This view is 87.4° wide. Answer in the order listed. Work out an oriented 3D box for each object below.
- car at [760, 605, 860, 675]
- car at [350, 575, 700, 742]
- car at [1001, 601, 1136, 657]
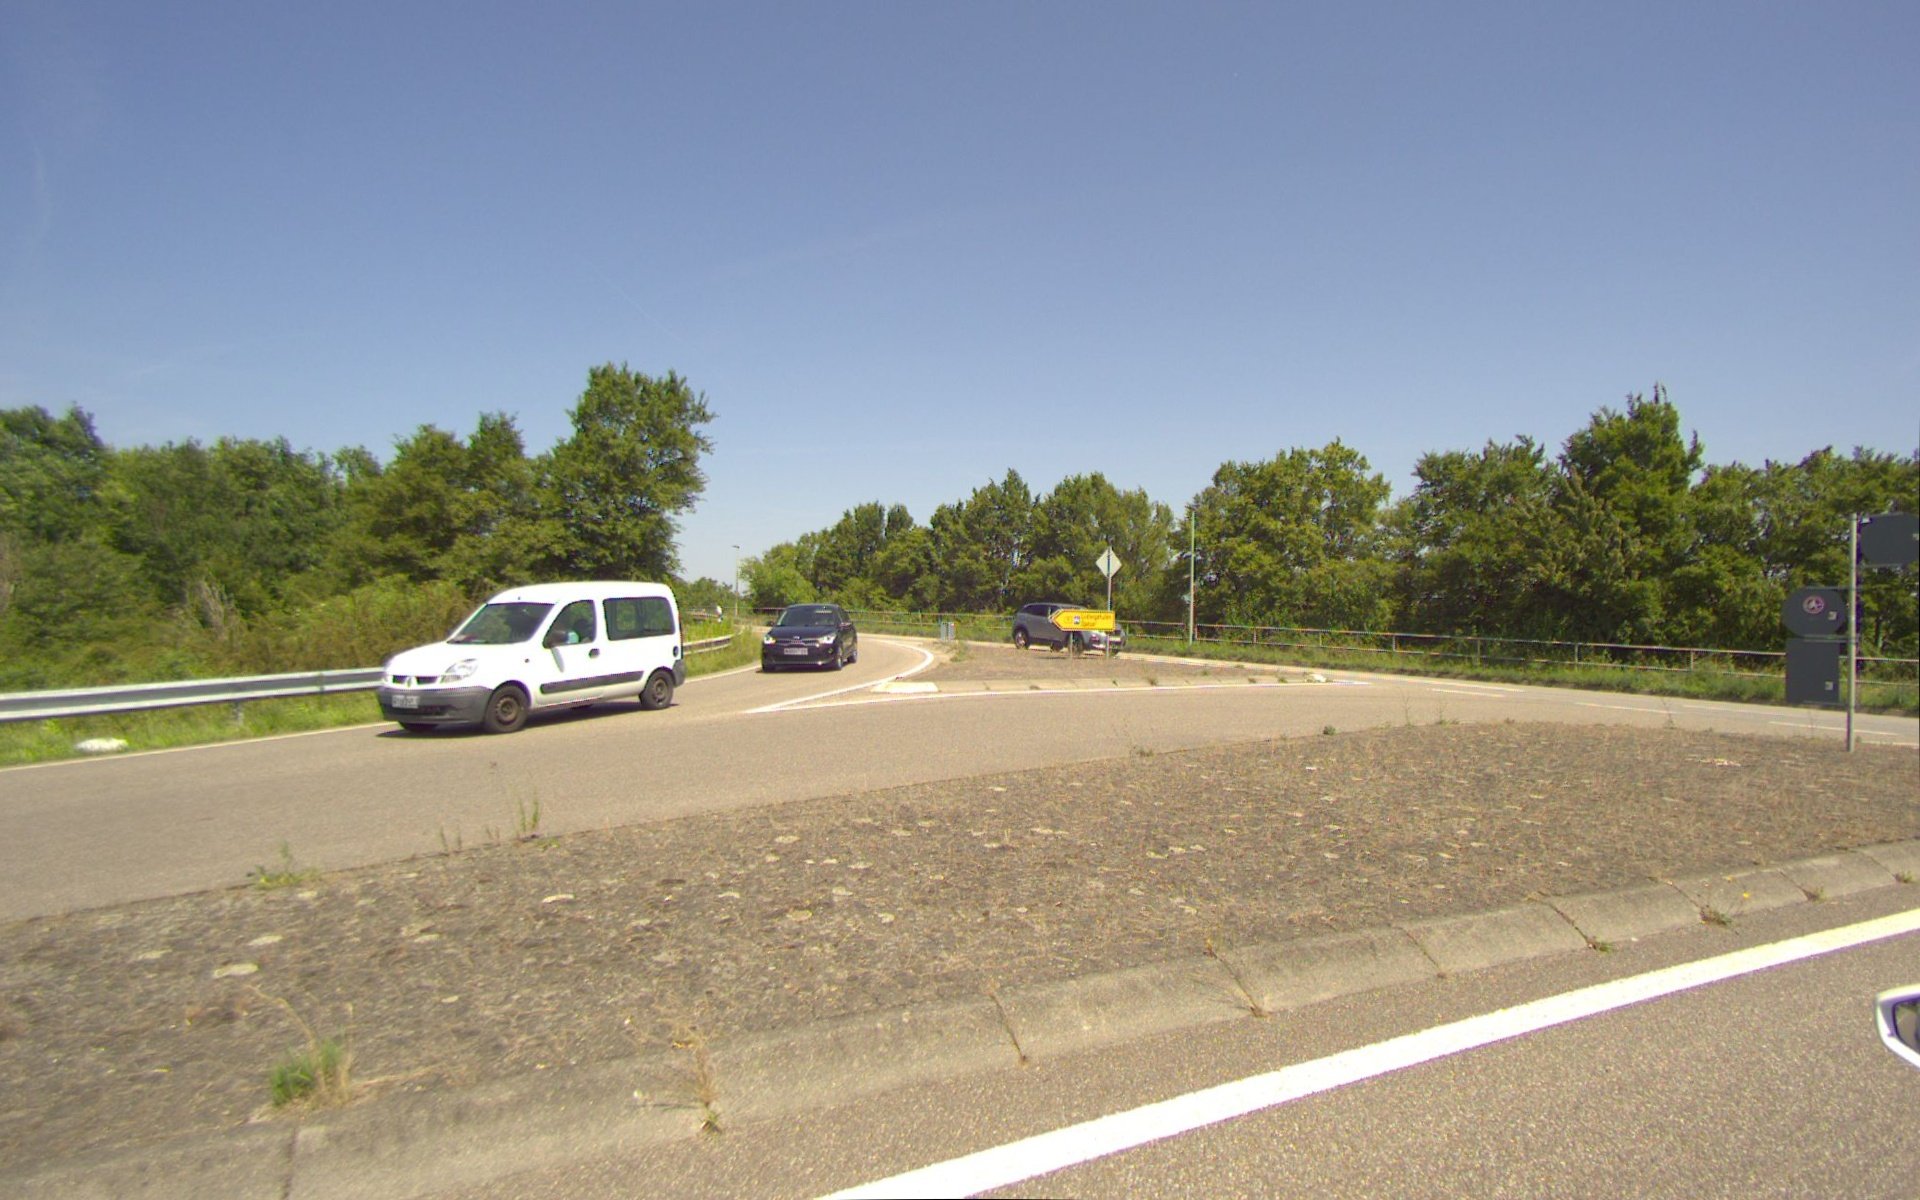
[{"bbox_3d":[-3.334,0.860,22.998,1.680,1.414,3.887,-2,-1,0],"label":"car"},{"bbox_3d":[-5.334,0.641,12.935,1.709,1.785,4.081,-1,0,23],"label":"car"},{"bbox_3d":[3.503,0.930,33.263,1.783,1.604,4.439,3,0,-39],"label":"car"}]
